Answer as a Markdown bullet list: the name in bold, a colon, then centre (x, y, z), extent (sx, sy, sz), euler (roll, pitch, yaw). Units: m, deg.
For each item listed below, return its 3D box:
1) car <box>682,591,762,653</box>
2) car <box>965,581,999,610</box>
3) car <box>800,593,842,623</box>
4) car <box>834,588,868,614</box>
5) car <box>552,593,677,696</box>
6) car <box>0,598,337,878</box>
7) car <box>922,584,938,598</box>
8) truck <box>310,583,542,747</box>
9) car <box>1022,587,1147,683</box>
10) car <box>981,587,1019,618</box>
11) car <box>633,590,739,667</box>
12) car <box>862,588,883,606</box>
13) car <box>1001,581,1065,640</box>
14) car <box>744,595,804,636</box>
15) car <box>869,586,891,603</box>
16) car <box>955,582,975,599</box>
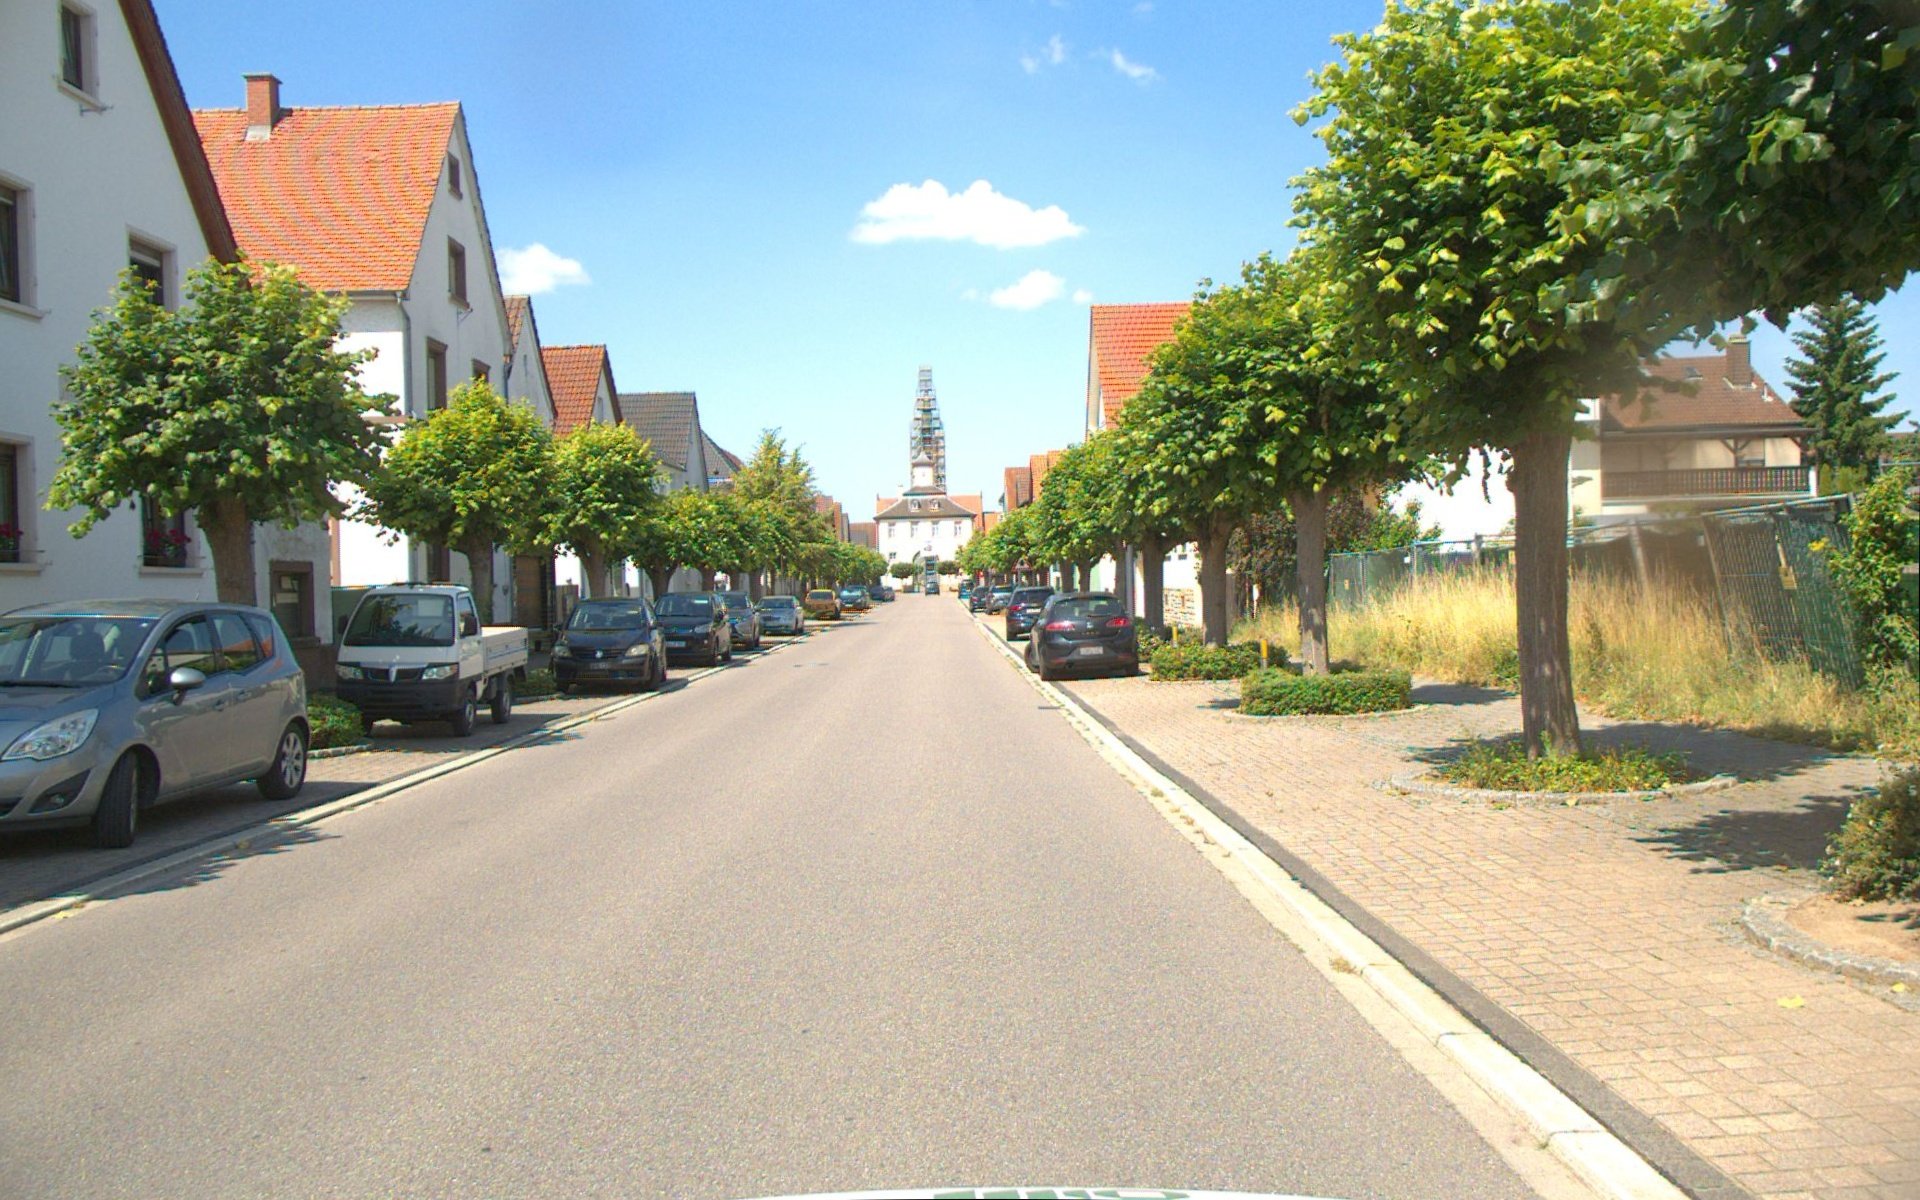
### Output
- **car**: centre (-6.733, 0.586, 47.167), extent (1.954, 1.681, 4.364), euler (0, 0, -4)
- **car**: centre (1.306, -0.272, 98.918), extent (1.800, 1.582, 4.312), euler (-3, 1, -1)
- **car**: centre (-7.663, 0.421, 91.476), extent (1.953, 1.639, 4.689), euler (0, 0, 0)
- **car**: centre (-7.426, 0.053, 112.873), extent (1.953, 1.639, 4.689), euler (0, 1, 0)
- **car**: centre (-5.999, 0.715, 29.078), extent (1.751, 1.662, 3.995), euler (0, 0, -6)
- **car**: centre (-6.204, 0.814, 11.923), extent (1.815, 1.641, 4.370), euler (1, 0, -1)
- **car**: centre (-3.283, -0.964, 181.137), extent (1.694, 1.574, 3.455), euler (0, 0, -1)
- **truck**: centre (-6.433, 0.716, 20.390), extent (1.544, 1.796, 4.191), euler (1, 0, -1)
- **car**: centre (2.145, 0.568, 29.513), extent (1.787, 1.457, 4.056), euler (-4, 1, -1)
- **car**: centre (2.190, 0.101, 91.253), extent (1.800, 1.635, 3.998), euler (-1, 1, -2)
- **car**: centre (-6.241, 0.622, 38.044), extent (1.815, 1.664, 4.056), euler (0, 0, -1)
- **car**: centre (-8.216, -0.268, 155.907), extent (1.722, 1.582, 4.020), euler (-2, 1, 0)
- **car**: centre (2.256, 0.297, 50.807), extent (1.786, 1.613, 4.059), euler (-3, 1, 3)
- **car**: centre (-6.874, 0.538, 61.476), extent (1.803, 1.420, 4.405), euler (-1, 0, -1)
- **car**: centre (-7.808, -0.572, 161.657), extent (1.953, 1.639, 3.855), euler (0, 0, 0)
- **car**: centre (0.459, -0.919, 161.740), extent (1.800, 1.582, 4.313), euler (-3, 1, 0)
